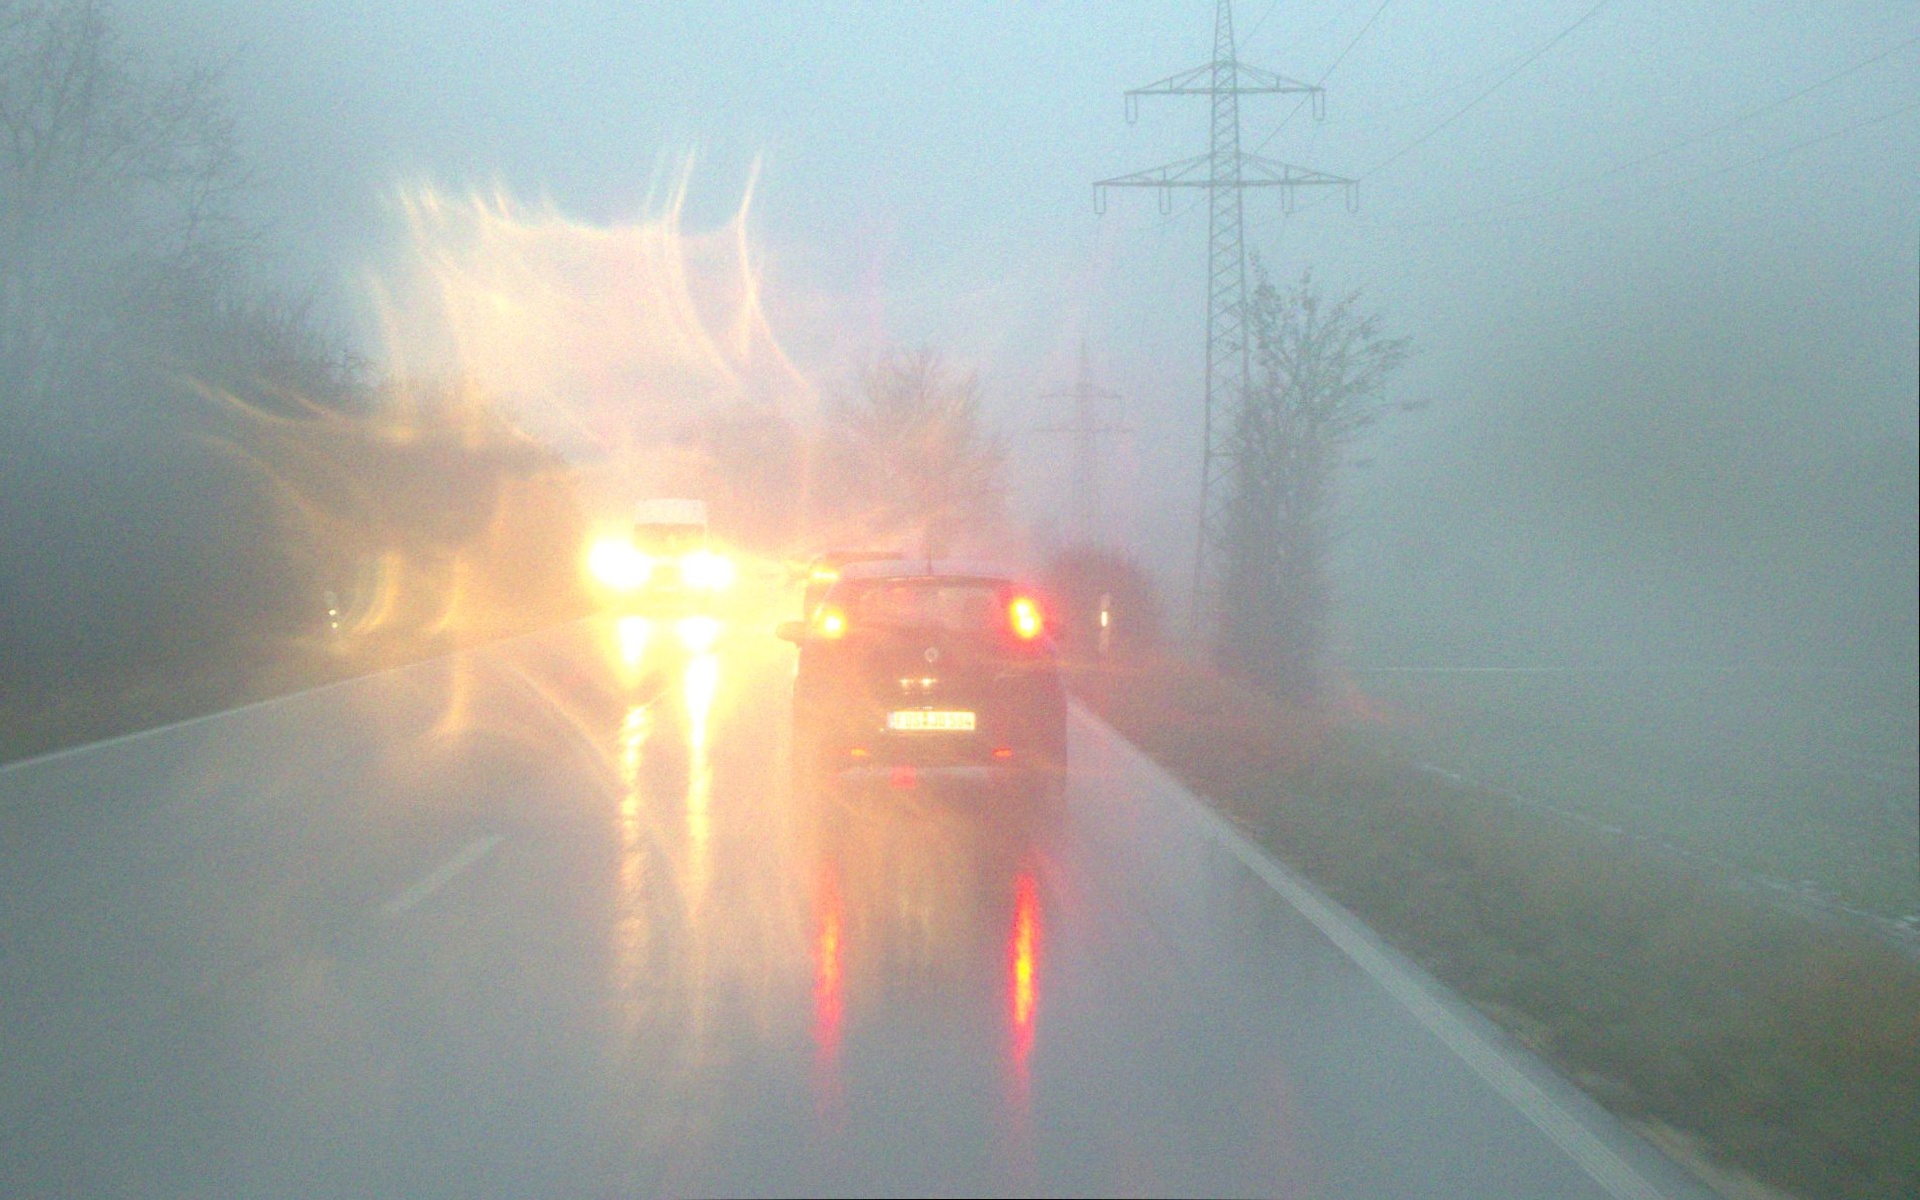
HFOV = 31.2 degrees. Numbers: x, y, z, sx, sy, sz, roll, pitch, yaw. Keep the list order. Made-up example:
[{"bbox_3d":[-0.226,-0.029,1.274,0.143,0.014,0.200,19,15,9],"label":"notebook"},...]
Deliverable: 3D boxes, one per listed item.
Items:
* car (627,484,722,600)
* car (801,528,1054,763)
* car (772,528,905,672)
[{"bbox_3d":[-6.831,-1.408,82.842,1.953,2.665,6.272,1,1,-2],"label":"car"},{"bbox_3d":[-0.261,0.255,22.231,1.500,1.393,3.200,1,1,-2],"label":"car"},{"bbox_3d":[-1.801,-0.024,50.651,1.852,2.007,4.000,1,1,-2],"label":"car"}]
